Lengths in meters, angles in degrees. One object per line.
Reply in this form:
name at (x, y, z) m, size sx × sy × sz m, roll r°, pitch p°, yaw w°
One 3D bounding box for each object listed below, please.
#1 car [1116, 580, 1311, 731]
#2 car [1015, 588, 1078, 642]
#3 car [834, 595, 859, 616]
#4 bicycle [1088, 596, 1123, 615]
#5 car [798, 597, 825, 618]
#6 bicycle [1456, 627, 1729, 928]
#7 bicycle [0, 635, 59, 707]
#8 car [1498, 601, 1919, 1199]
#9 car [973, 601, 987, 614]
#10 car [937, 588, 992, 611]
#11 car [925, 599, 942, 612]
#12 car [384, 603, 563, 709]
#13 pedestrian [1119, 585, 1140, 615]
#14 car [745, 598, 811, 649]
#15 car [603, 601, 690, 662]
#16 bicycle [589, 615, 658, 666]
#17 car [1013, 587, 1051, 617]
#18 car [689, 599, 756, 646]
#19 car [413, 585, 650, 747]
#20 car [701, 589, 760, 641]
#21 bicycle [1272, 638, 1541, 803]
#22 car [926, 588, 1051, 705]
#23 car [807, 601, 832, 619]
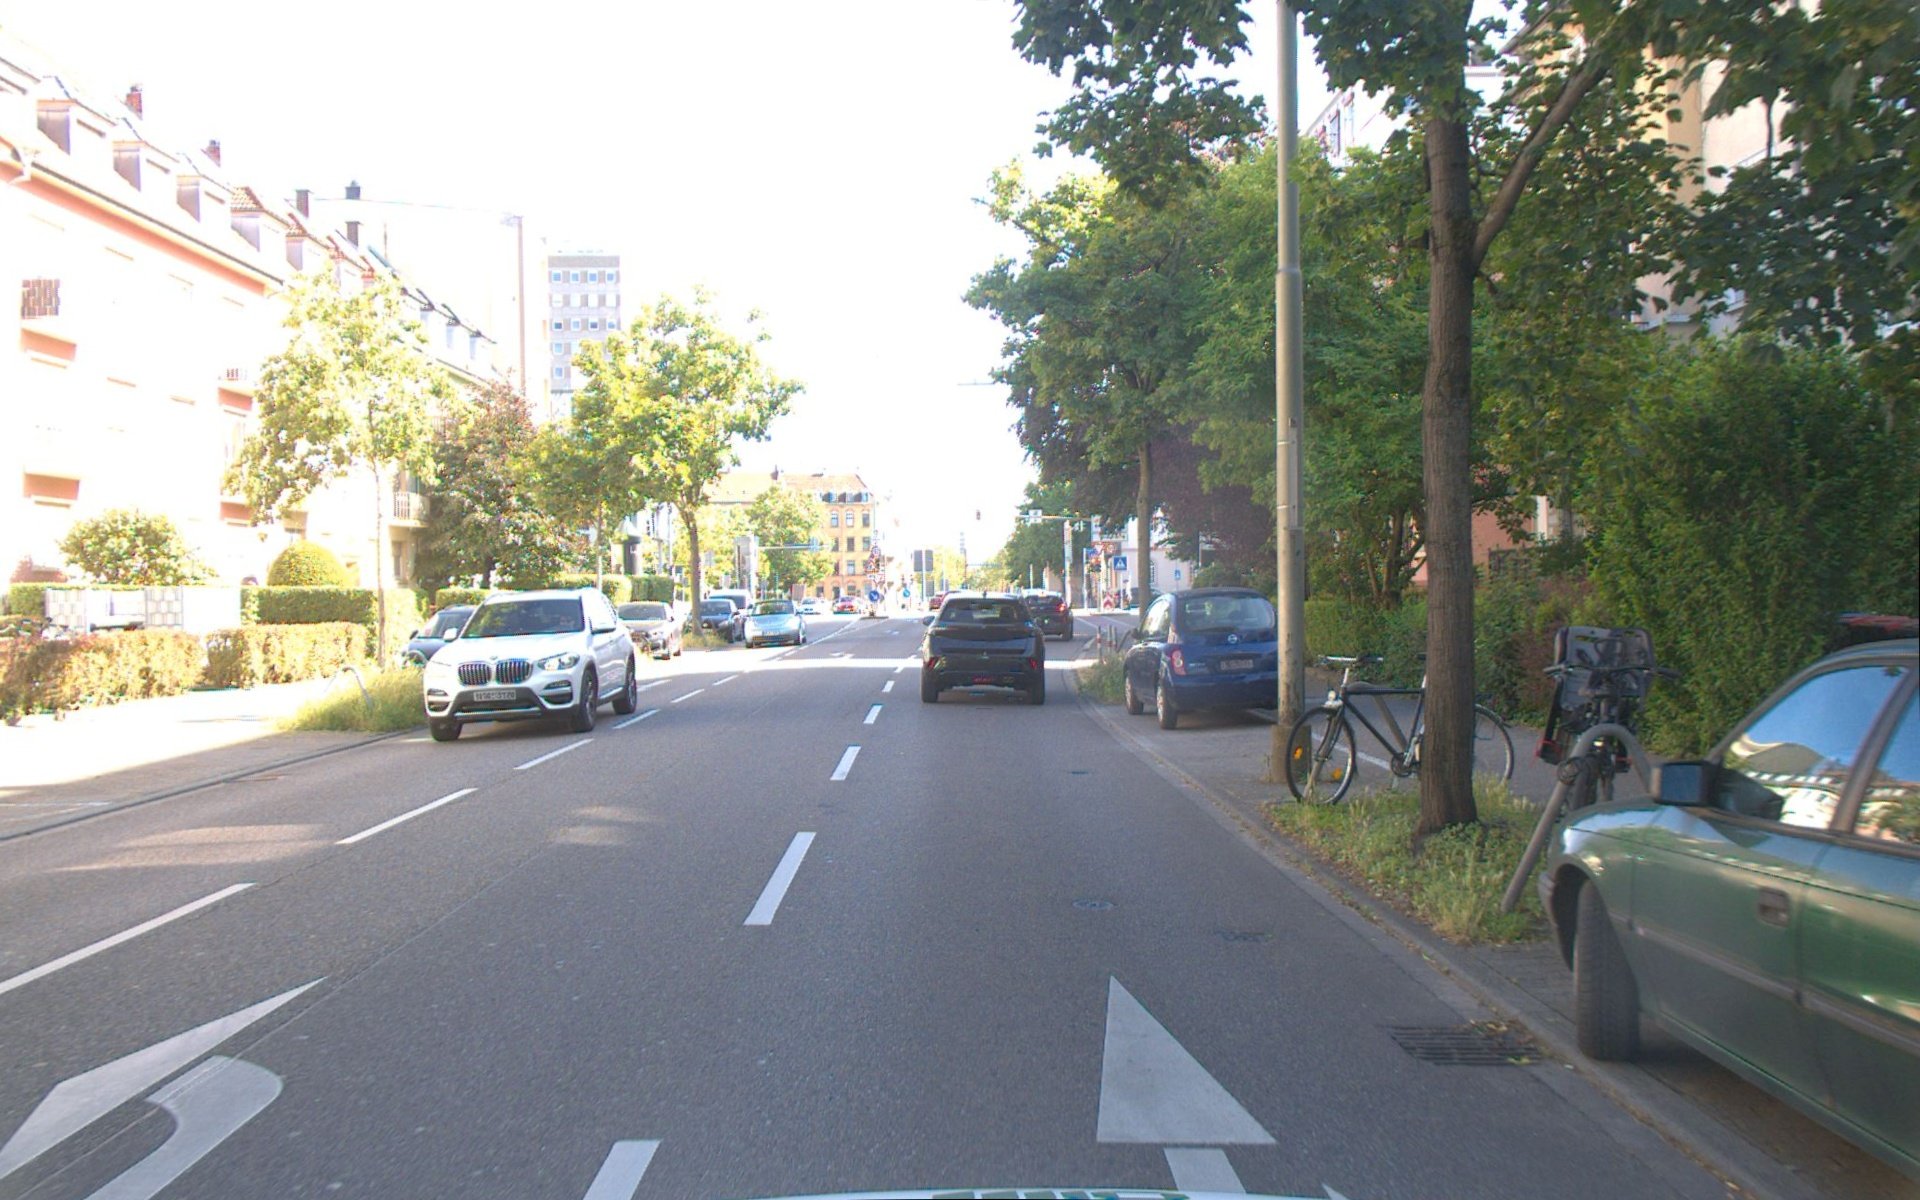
car at (2.926, 0.598, 19.774) m, size 1.528 × 1.541 × 3.652 m, roll -3°, pitch 0°, yaw -3°
car at (2.746, 0.454, 53.267) m, size 1.793 × 1.606 × 3.839 m, roll -1°, pitch 0°, yaw 0°
car at (-9.026, 0.426, 131.690) m, size 1.754 × 1.645 × 4.000 m, roll -1°, pitch 0°, yaw 0°
bicycle at (8.504, 0.330, 96.762) m, size 2.000 × 1.079 × 0.618 m, roll -1°, pitch 0°, yaw -19°
car at (-11.969, 0.603, 133.605) m, size 1.836 × 1.645 × 3.999 m, roll -1°, pitch 0°, yaw -1°
bicycle at (3.055, 0.783, 7.915) m, size 1.652 × 1.258 × 0.465 m, roll -1°, pitch 0°, yaw -40°
bicycle at (-14.209, 1.064, 24.926) m, size 0.391 × 1.000 × 1.548 m, roll -2°, pitch 1°, yaw -1°
car at (2.805, 0.742, 4.140) m, size 1.579 × 1.407 × 3.976 m, roll -2°, pitch 0°, yaw 0°
car at (2.725, 1.034, 225.023) m, size 1.822 × 1.689 × 4.000 m, roll 1°, pitch 0°, yaw 1°
car at (0.303, -0.015, 111.842) m, size 1.759 × 1.478 × 3.832 m, roll -1°, pitch 0°, yaw -38°
car at (-3.053, 0.591, 191.951) m, size 1.773 × 1.431 × 4.000 m, roll -1°, pitch 0°, yaw 1°
car at (-7.934, 0.855, 27.398) m, size 1.749 × 1.519 × 4.491 m, roll -1°, pitch 1°, yaw -2°
pedestrian at (9.753, 0.014, 95.177) m, size 1.020 × 1.689 × 0.783 m, roll -2°, pitch 0°, yaw -4°
car at (-5.648, 0.712, 51.706) m, size 1.702 × 1.405 × 3.935 m, roll -3°, pitch 1°, yaw -2°
car at (-8.082, 0.788, 42.949) m, size 1.733 × 1.433 × 4.362 m, roll -1°, pitch 1°, yaw -4°
bicycle at (-8.066, 0.957, 39.672) m, size 1.512 × 1.154 × 0.548 m, roll -2°, pitch 0°, yaw -2°
car at (3.741, 0.082, 86.539) m, size 1.793 × 1.478 × 3.987 m, roll -1°, pitch 0°, yaw 0°
car at (-8.003, 0.746, 56.033) m, size 1.637 × 1.482 × 4.111 m, roll -1°, pitch 0°, yaw 0°
car at (-5.185, 0.720, 20.654) m, size 1.770 × 1.676 × 4.671 m, roll -4°, pitch 0°, yaw -2°
car at (-8.684, 0.540, 62.970) m, size 1.782 × 1.866 × 4.560 m, roll -1°, pitch 0°, yaw -3°
bicycle at (3.095, 0.839, 11.581) m, size 1.702 × 1.040 × 0.524 m, roll -3°, pitch -3°, yaw 6°
car at (0.361, 0.633, 24.348) m, size 1.710 × 1.601 × 3.557 m, roll 0°, pitch 0°, yaw -1°
car at (-12.468, 0.874, 147.134) m, size 1.836 × 1.473 × 3.999 m, roll -1°, pitch 0°, yaw -1°
